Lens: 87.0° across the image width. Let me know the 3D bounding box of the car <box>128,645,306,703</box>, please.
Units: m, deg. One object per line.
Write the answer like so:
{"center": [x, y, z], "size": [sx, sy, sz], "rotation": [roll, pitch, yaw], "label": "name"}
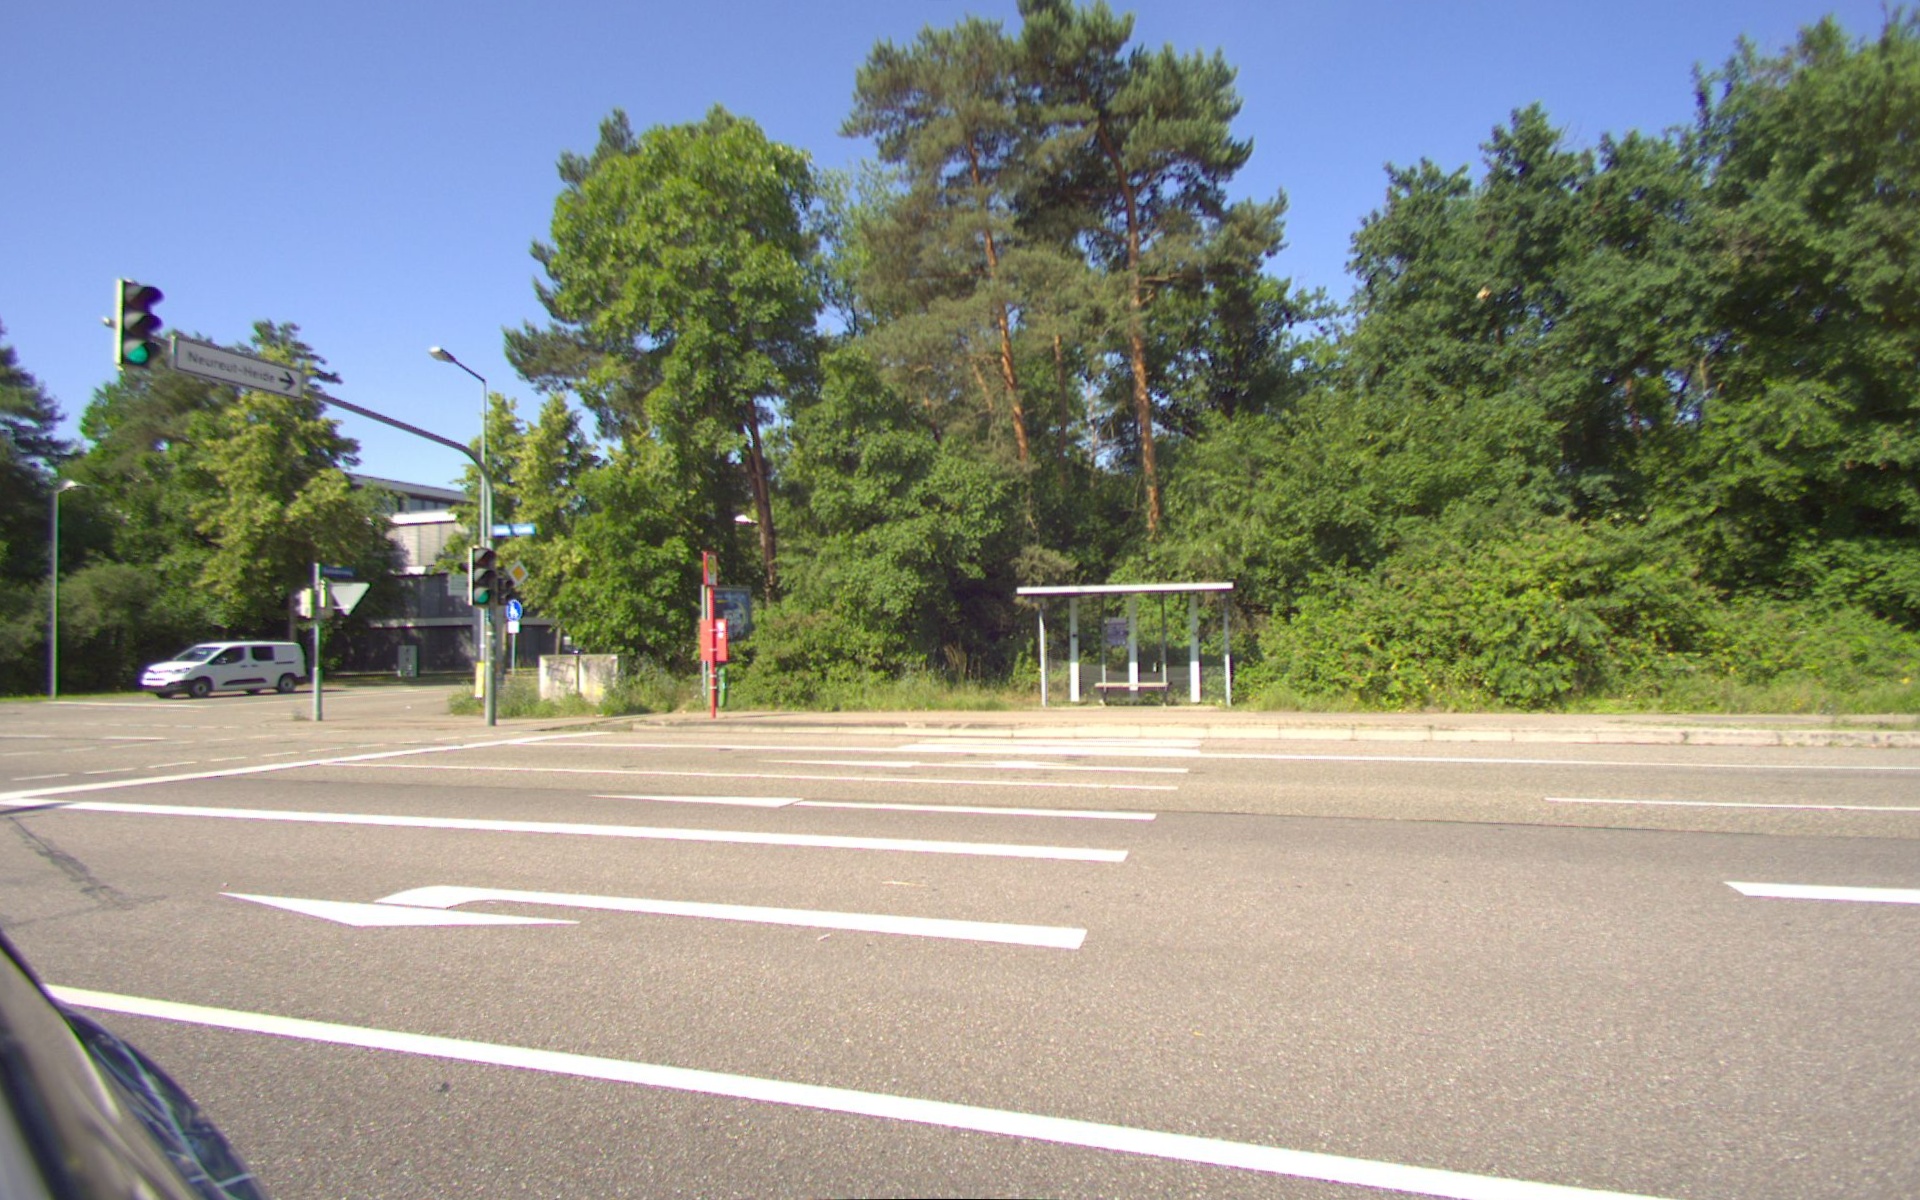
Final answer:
{"center": [-24.779, 2.427, 33.988], "size": [1.837, 1.791, 4.633], "rotation": [-1, -3, 18], "label": "car"}
